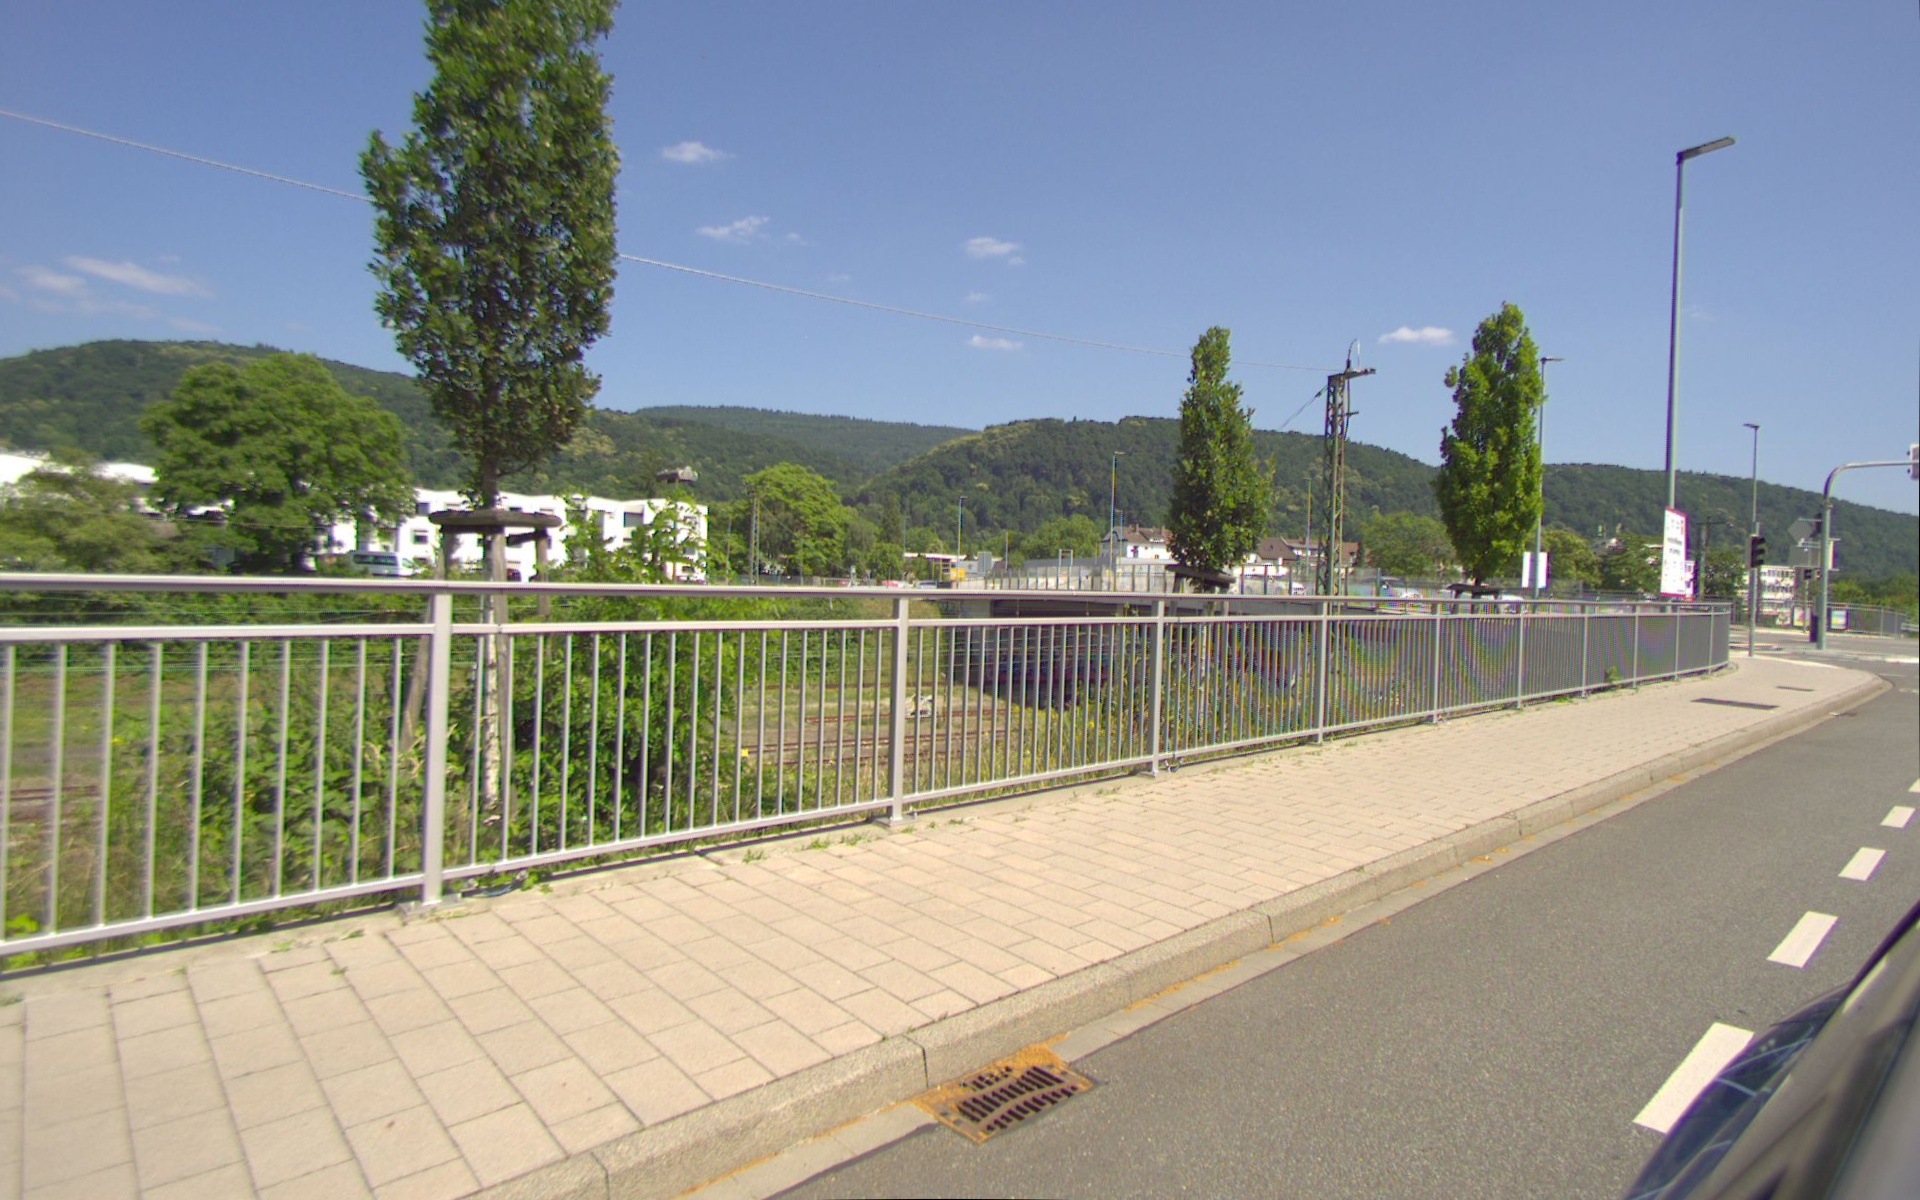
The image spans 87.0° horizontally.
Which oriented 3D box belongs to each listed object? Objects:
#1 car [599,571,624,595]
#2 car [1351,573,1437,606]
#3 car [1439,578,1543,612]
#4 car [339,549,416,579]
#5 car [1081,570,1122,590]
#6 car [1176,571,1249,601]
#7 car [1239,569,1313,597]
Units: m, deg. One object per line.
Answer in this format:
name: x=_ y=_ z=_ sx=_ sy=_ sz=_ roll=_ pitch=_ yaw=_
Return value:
car: x=-30.831 y=-1.524 z=89.420 sx=1.958 sy=2.038 sz=4.481 roll=1 pitch=1 yaw=-20
car: x=23.530 y=-0.615 z=55.062 sx=1.700 sy=1.646 sz=4.453 roll=1 pitch=1 yaw=-18
car: x=25.373 y=-0.262 z=48.545 sx=1.700 sy=1.488 sz=4.421 roll=1 pitch=1 yaw=-18
car: x=-45.106 y=-2.761 z=78.420 sx=4.898 sy=2.139 sz=1.999 roll=1 pitch=1 yaw=-37
car: x=12.553 y=-1.793 z=90.070 sx=1.700 sy=1.647 sz=4.452 roll=1 pitch=1 yaw=-20
car: x=16.073 y=-0.913 z=64.603 sx=1.959 sy=1.740 sz=4.642 roll=1 pitch=1 yaw=-26
car: x=19.962 y=-1.084 z=64.086 sx=1.702 sy=1.646 sz=4.448 roll=1 pitch=1 yaw=-30
